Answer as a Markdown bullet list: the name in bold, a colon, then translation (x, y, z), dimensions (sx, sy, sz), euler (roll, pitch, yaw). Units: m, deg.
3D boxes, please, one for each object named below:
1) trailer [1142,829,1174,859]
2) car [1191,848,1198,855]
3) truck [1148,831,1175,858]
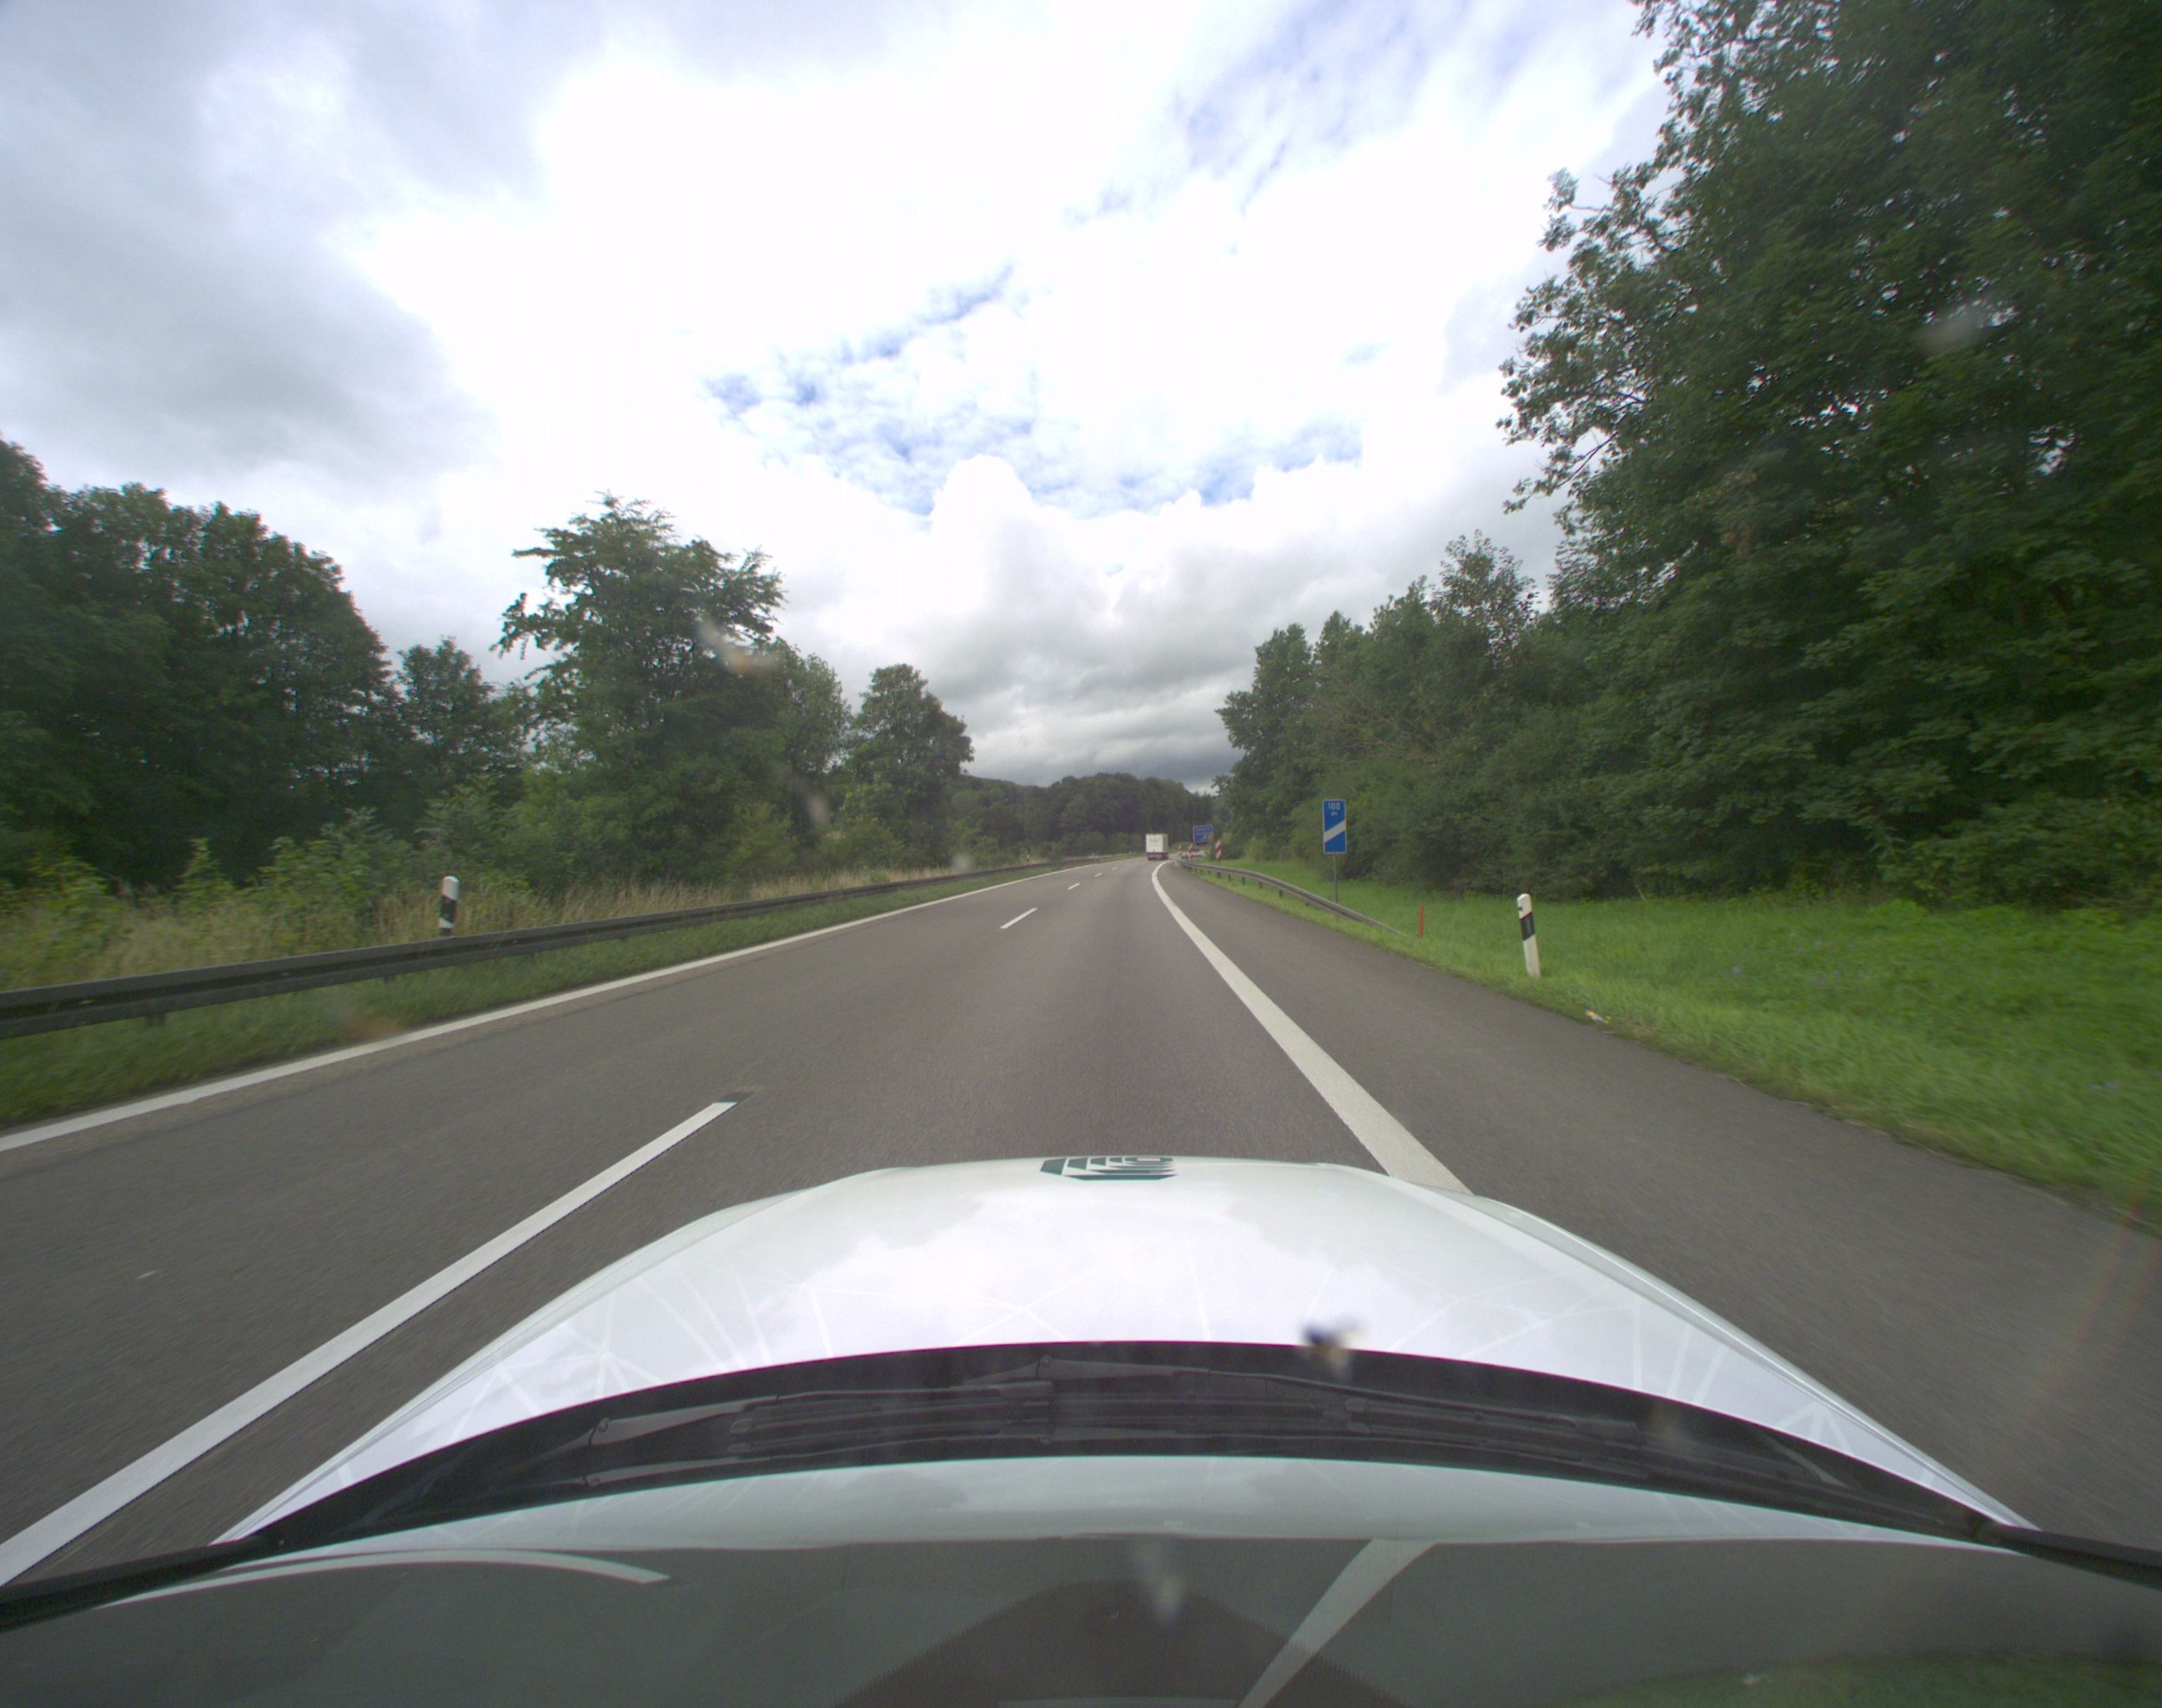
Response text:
- **trailer**: translation (12.154, -1.547, 126.632), dimensions (3.783, 4.174, 14.847), euler (-3, 0, 9)
- **car**: translation (32.998, -0.731, 236.783), dimensions (1.891, 1.795, 4.012), euler (-1, -1, 11)
- **truck**: translation (13.333, -1.599, 133.767), dimensions (3.765, 4.131, 8.286), euler (-3, 0, 9)
